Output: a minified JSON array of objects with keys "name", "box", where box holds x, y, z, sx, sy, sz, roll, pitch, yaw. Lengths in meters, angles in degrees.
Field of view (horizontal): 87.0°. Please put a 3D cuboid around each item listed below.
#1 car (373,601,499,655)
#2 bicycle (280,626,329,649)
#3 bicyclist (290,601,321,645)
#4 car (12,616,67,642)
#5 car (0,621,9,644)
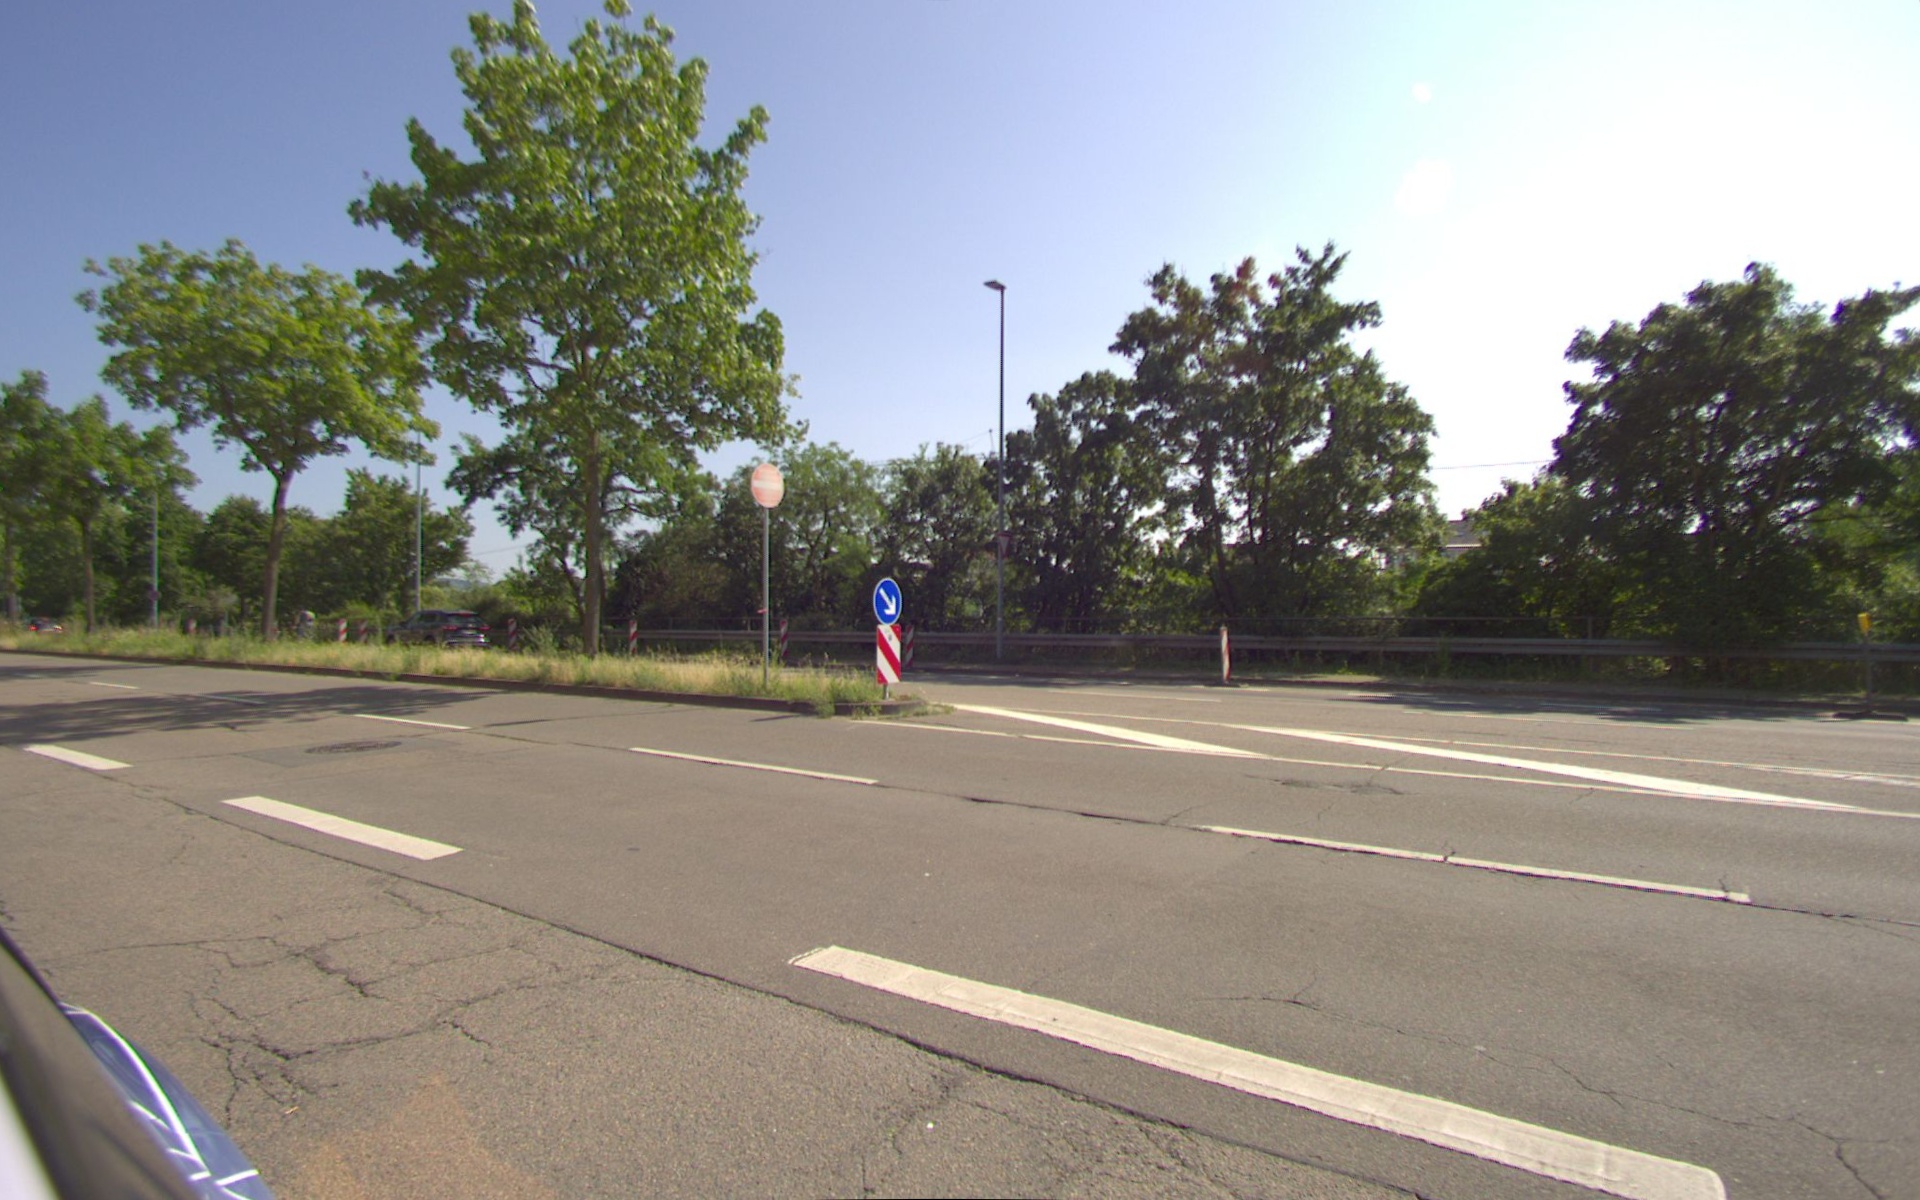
[{"name":"car","box":[-18.025,0.937,34.747,4.721,1.747,1.975,-1,-1,36]},{"name":"bicycle","box":[-27.655,1.580,42.693,2.331,0.912,0.689,-1,-1,28]},{"name":"bicyclist","box":[-27.602,0.963,42.652,1.012,1.846,0.692,-1,-1,29]},{"name":"car","box":[-55.877,1.743,61.388,4.078,1.485,1.747,-1,-1,37]},{"name":"car","box":[-66.073,2.183,68.389,3.990,1.541,1.783,-1,-1,34]}]
